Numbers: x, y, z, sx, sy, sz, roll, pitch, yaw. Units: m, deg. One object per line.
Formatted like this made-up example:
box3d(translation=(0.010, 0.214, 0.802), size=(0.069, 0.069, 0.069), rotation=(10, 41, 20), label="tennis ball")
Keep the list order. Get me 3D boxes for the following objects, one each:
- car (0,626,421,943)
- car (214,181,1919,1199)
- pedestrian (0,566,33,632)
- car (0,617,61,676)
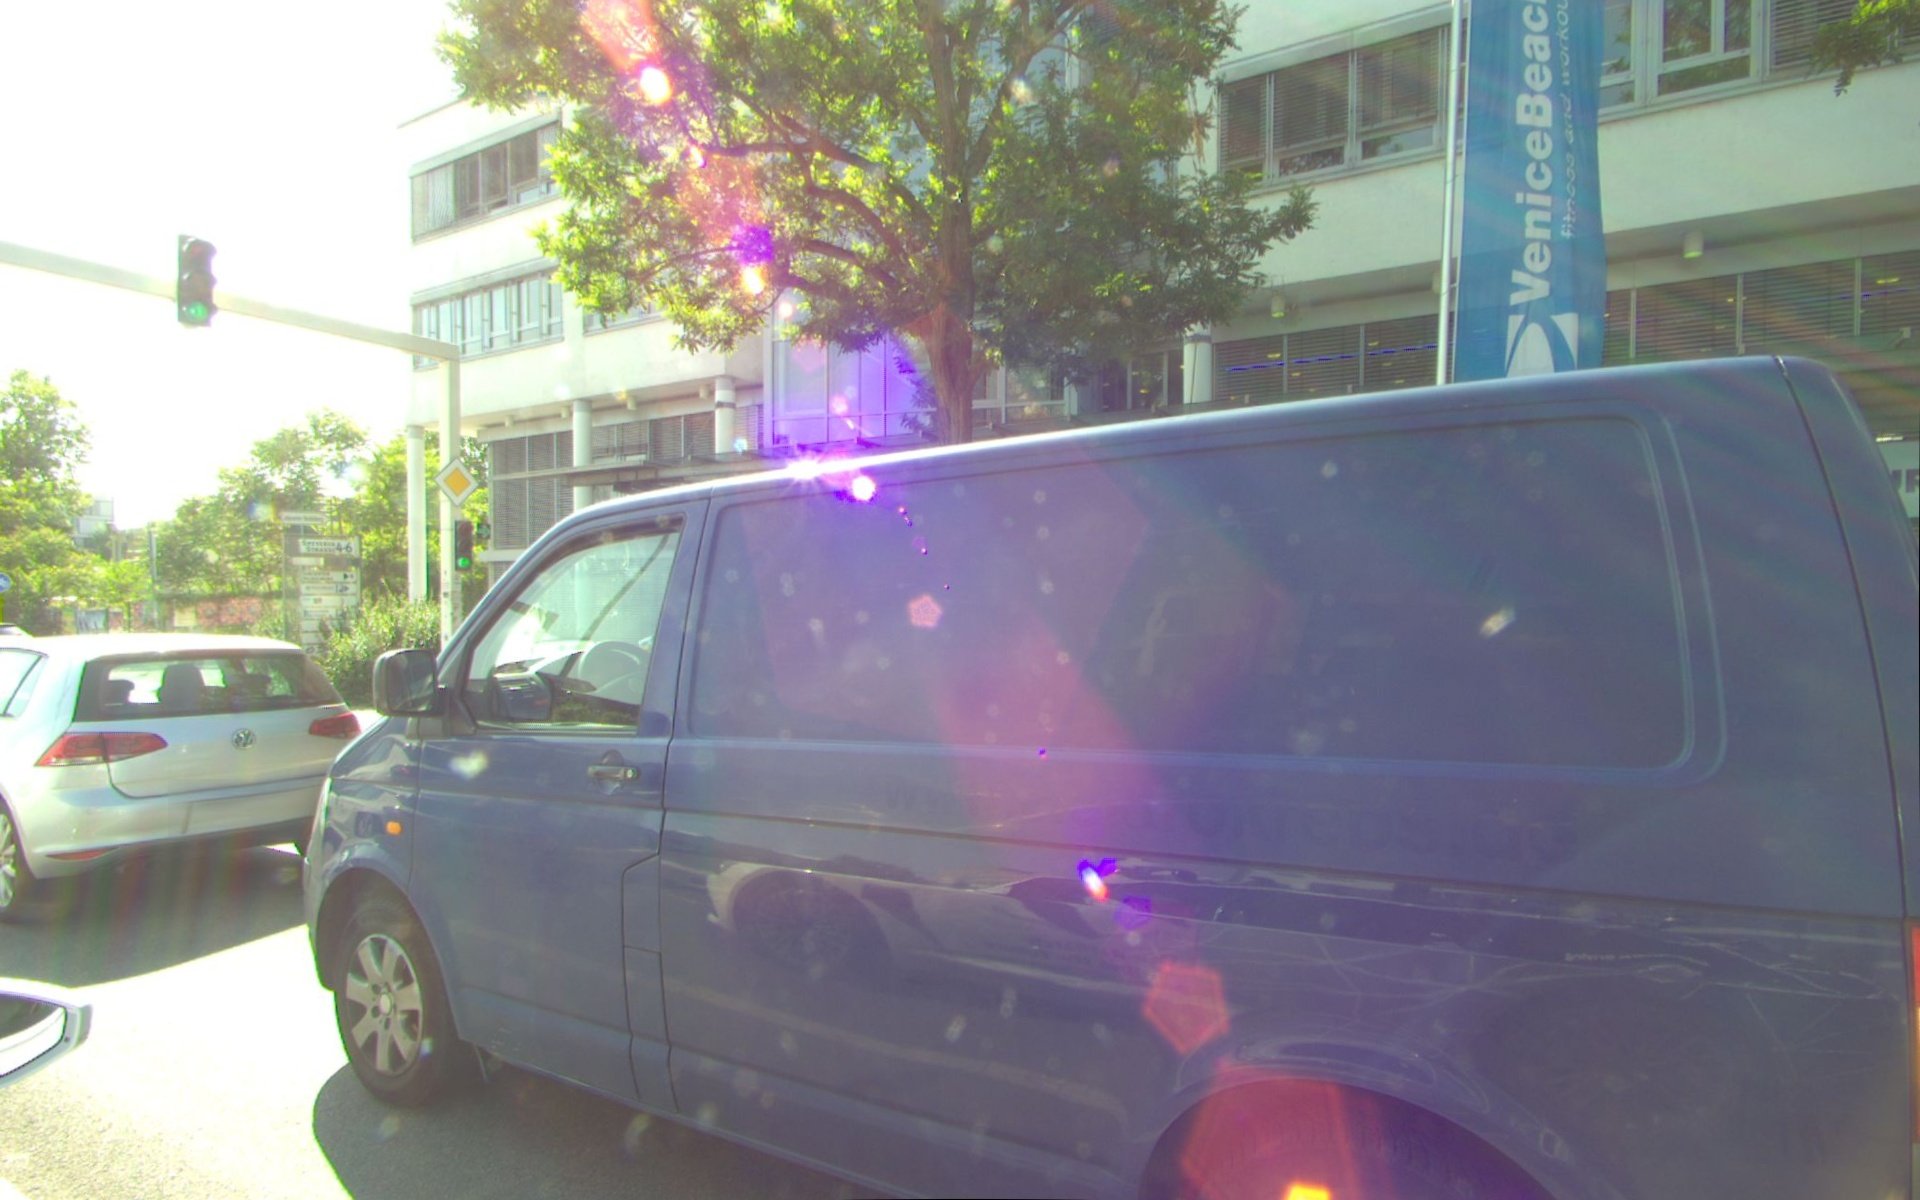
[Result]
box3d(translation=(-5.508, 0.924, 6.454), size=(3.941, 1.448, 1.805), rotation=(-1, -1, 30), label="car")
box3d(translation=(-0.120, 0.542, 3.170), size=(4.821, 1.973, 1.989), rotation=(-1, -1, 32), label="car")
box3d(translation=(-30.238, -0.019, 31.730), size=(1.023, 2.040, 1.025), rotation=(0, 0, 32), label="pedestrian")
box3d(translation=(-27.704, 1.270, 27.251), size=(4.360, 1.572, 1.994), rotation=(0, 0, -22), label="car")
